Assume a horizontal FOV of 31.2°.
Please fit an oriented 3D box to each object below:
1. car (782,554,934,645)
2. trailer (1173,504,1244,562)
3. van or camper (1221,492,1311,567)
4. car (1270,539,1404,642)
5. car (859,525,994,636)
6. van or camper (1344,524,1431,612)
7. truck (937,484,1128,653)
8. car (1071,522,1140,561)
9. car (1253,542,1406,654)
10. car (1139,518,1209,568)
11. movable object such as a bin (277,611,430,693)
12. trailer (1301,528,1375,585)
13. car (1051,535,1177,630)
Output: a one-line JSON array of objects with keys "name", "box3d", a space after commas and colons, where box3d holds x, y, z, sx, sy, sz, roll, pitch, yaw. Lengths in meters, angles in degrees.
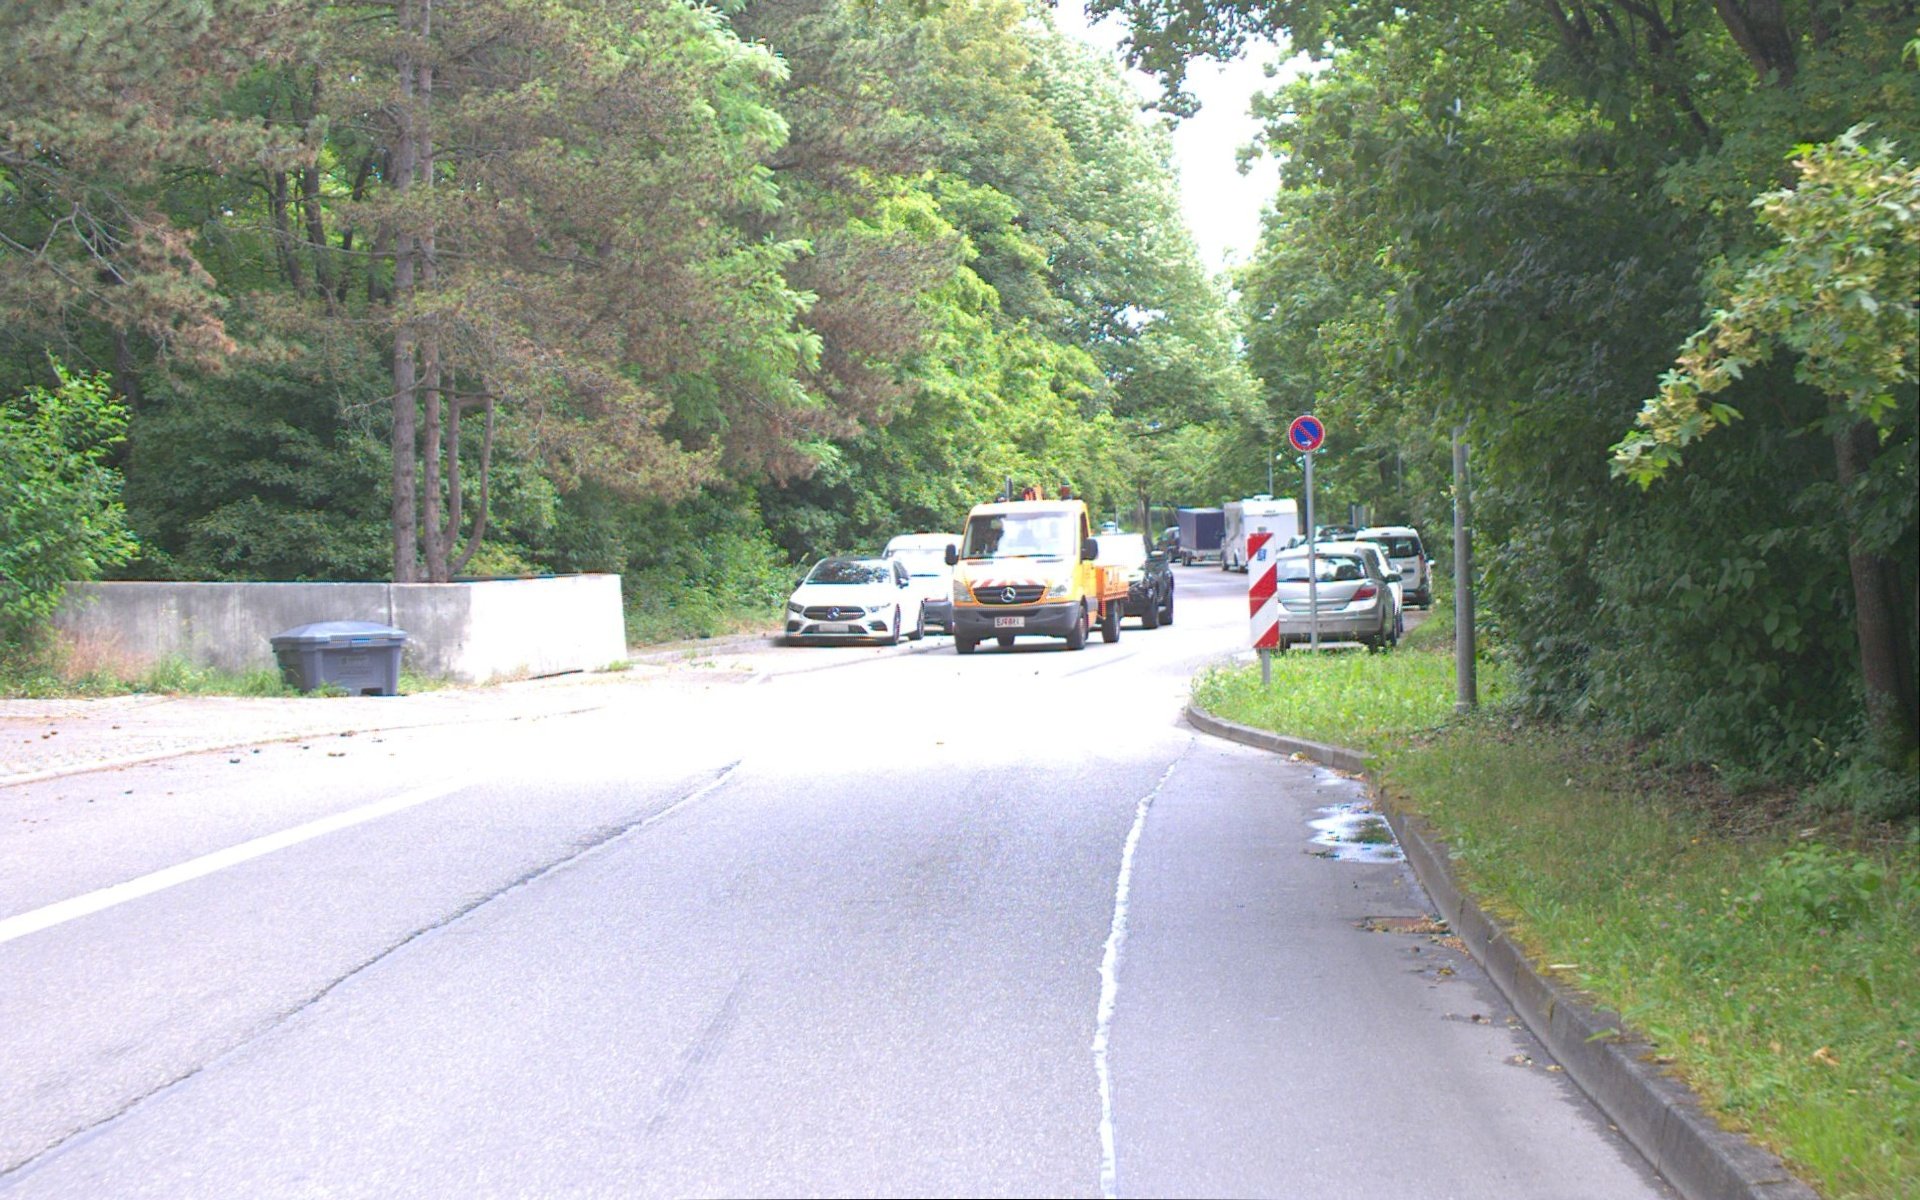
[{"name": "car", "box3d": [-1.636, -0.043, 56.480, 1.806, 1.398, 4.371, 0, 1, 8]}, {"name": "trailer", "box3d": [10.697, -2.878, 148.297, 1.993, 2.390, 4.001, -2, 1, -11]}, {"name": "van or camper", "box3d": [12.176, -2.794, 137.287, 2.482, 2.866, 6.891, -2, 1, -4]}, {"name": "car", "box3d": [5.984, -0.183, 54.171, 1.887, 1.501, 5.174, -1, 1, 8]}, {"name": "car", "box3d": [-0.581, -0.389, 63.157, 1.721, 1.915, 4.103, 1, 2, 10]}, {"name": "van or camper", "box3d": [9.382, -0.667, 75.259, 1.802, 1.831, 4.319, -1, -1, 8]}, {"name": "truck", "box3d": [1.216, -0.541, 53.857, 2.323, 2.461, 6.019, 1, 1, 8]}, {"name": "car", "box3d": [7.041, -2.843, 166.892, 2.034, 1.797, 4.084, -3, 2, -17]}, {"name": "car", "box3d": [5.069, -0.048, 46.783, 1.793, 1.406, 4.057, -2, 1, 10]}, {"name": "car", "box3d": [9.546, -2.564, 153.683, 1.993, 2.019, 4.002, -5, 3, -12]}, {"name": "movable object such as a bin", "box3d": [-5.792, 0.491, 32.795, 1.144, 0.758, 1.049, 1, 0, -29]}, {"name": "trailer", "box3d": [12.914, -1.513, 117.692, 1.979, 1.805, 5.149, -2, 2, 1]}, {"name": "car", "box3d": [3.016, -0.364, 66.469, 1.994, 1.730, 5.335, -1, 1, 7]}]
